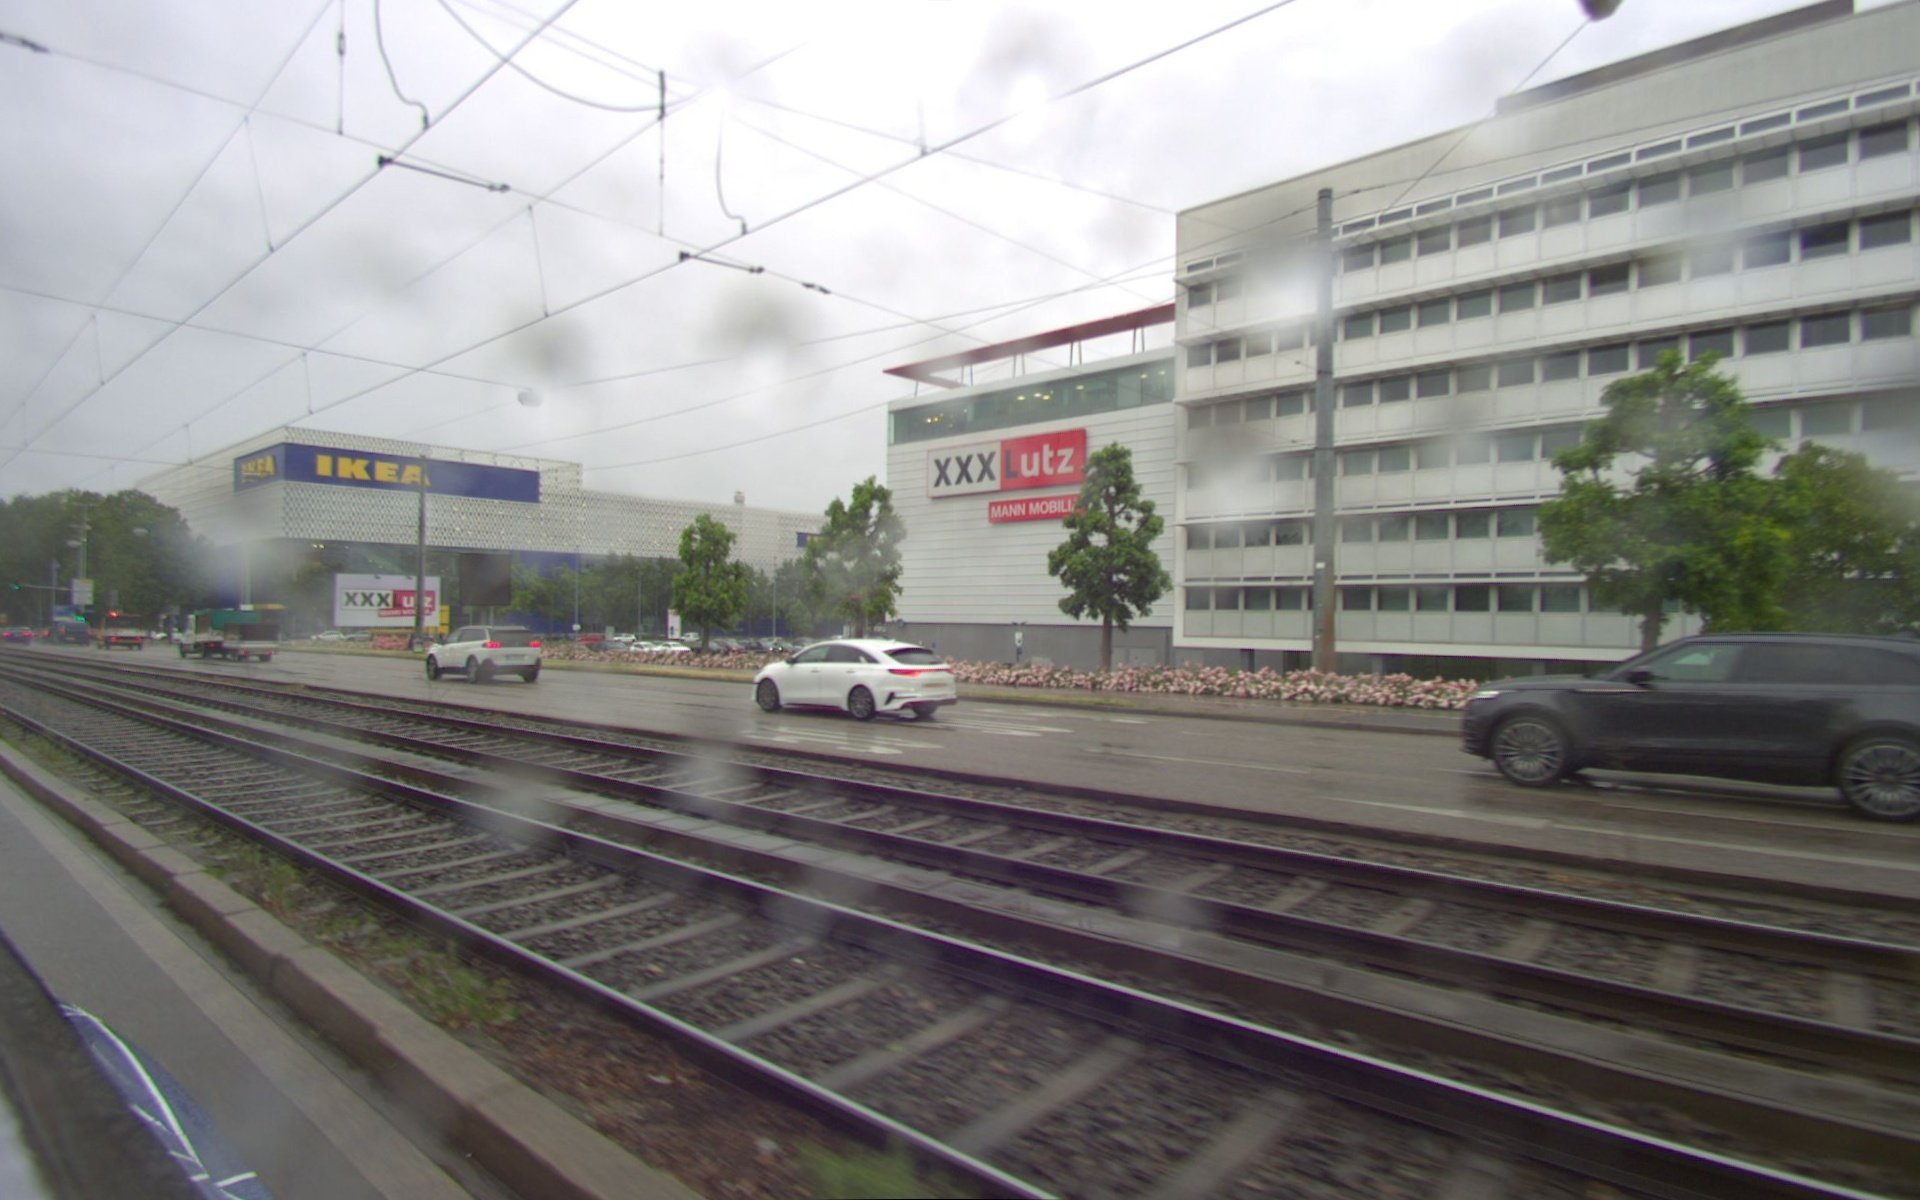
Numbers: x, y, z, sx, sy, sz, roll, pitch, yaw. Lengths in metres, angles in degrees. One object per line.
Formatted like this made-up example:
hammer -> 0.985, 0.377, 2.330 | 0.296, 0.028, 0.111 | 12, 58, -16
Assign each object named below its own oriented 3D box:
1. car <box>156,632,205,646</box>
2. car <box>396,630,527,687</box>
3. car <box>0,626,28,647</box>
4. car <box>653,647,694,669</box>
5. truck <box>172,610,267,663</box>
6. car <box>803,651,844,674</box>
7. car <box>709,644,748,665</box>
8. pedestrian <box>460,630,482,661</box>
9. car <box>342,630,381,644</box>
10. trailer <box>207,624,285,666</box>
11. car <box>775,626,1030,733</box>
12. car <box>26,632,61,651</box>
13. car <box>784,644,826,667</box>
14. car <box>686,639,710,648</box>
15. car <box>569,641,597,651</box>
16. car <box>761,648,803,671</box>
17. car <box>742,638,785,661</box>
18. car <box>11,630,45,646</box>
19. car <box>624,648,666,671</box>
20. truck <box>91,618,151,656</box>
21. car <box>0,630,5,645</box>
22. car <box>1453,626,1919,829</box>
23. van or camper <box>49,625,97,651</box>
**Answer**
car -> -93.534, 4.674, 121.417 | 1.819, 1.552, 4.401 | -3, -1, 42
car -> -15.203, 1.722, 30.745 | 4.765, 1.595, 1.972 | -2, -3, 42
car -> -76.424, 2.900, 81.272 | 4.534, 1.635, 1.800 | -1, -1, 41
car -> -29.025, 5.857, 102.410 | 4.086, 2.029, 1.974 | -1, 0, 38
truck -> -37.409, 1.829, 51.010 | 7.217, 2.476, 2.409 | -1, -3, 42
car -> -14.039, 6.399, 103.982 | 3.995, 2.029, 1.974 | -1, 0, 39
car -> -24.654, 5.731, 107.734 | 3.995, 2.029, 1.974 | -1, 0, 39
pedestrian -> -29.561, 2.732, 61.222 | 1.050, 1.776, 0.814 | -1, 1, 43
car -> -79.331, 4.916, 134.130 | 1.999, 1.615, 4.053 | -1, 0, 42
trailer -> -33.330, 2.051, 47.223 | 3.834, 1.806, 2.097 | -1, 0, 41
car -> -1.137, 1.315, 18.207 | 4.686, 1.695, 1.753 | -1, -2, 40
car -> -81.910, 3.691, 90.412 | 4.907, 1.630, 1.838 | -1, -4, 43
car -> -15.543, 5.557, 101.506 | 3.995, 2.029, 1.974 | -1, 0, 39
car -> -46.153, 7.664, 178.066 | 1.602, 1.417, 3.771 | -1, 0, 43
car -> -60.665, 7.355, 163.075 | 1.602, 1.417, 3.930 | -1, 0, 43
car -> -17.543, 5.881, 99.716 | 3.995, 2.029, 1.974 | -1, 0, 39
car -> -19.020, 4.801, 97.796 | 3.995, 2.029, 1.974 | -1, 0, 39
car -> -92.430, 3.772, 100.345 | 4.552, 1.528, 1.943 | -1, -3, 41
car -> -31.259, 5.901, 100.284 | 4.086, 2.029, 1.974 | -1, 0, 38
truck -> -57.937, 2.530, 69.818 | 6.064, 2.480, 2.203 | -1, -4, 42
car -> -100.325, 3.897, 104.607 | 4.687, 1.505, 1.839 | -1, -2, 41
car -> 7.914, 1.152, 10.289 | 4.879, 1.734, 1.973 | -2, -3, 41
van or camper -> -72.842, 3.072, 83.080 | 5.685, 2.029, 2.280 | -1, -2, 42
